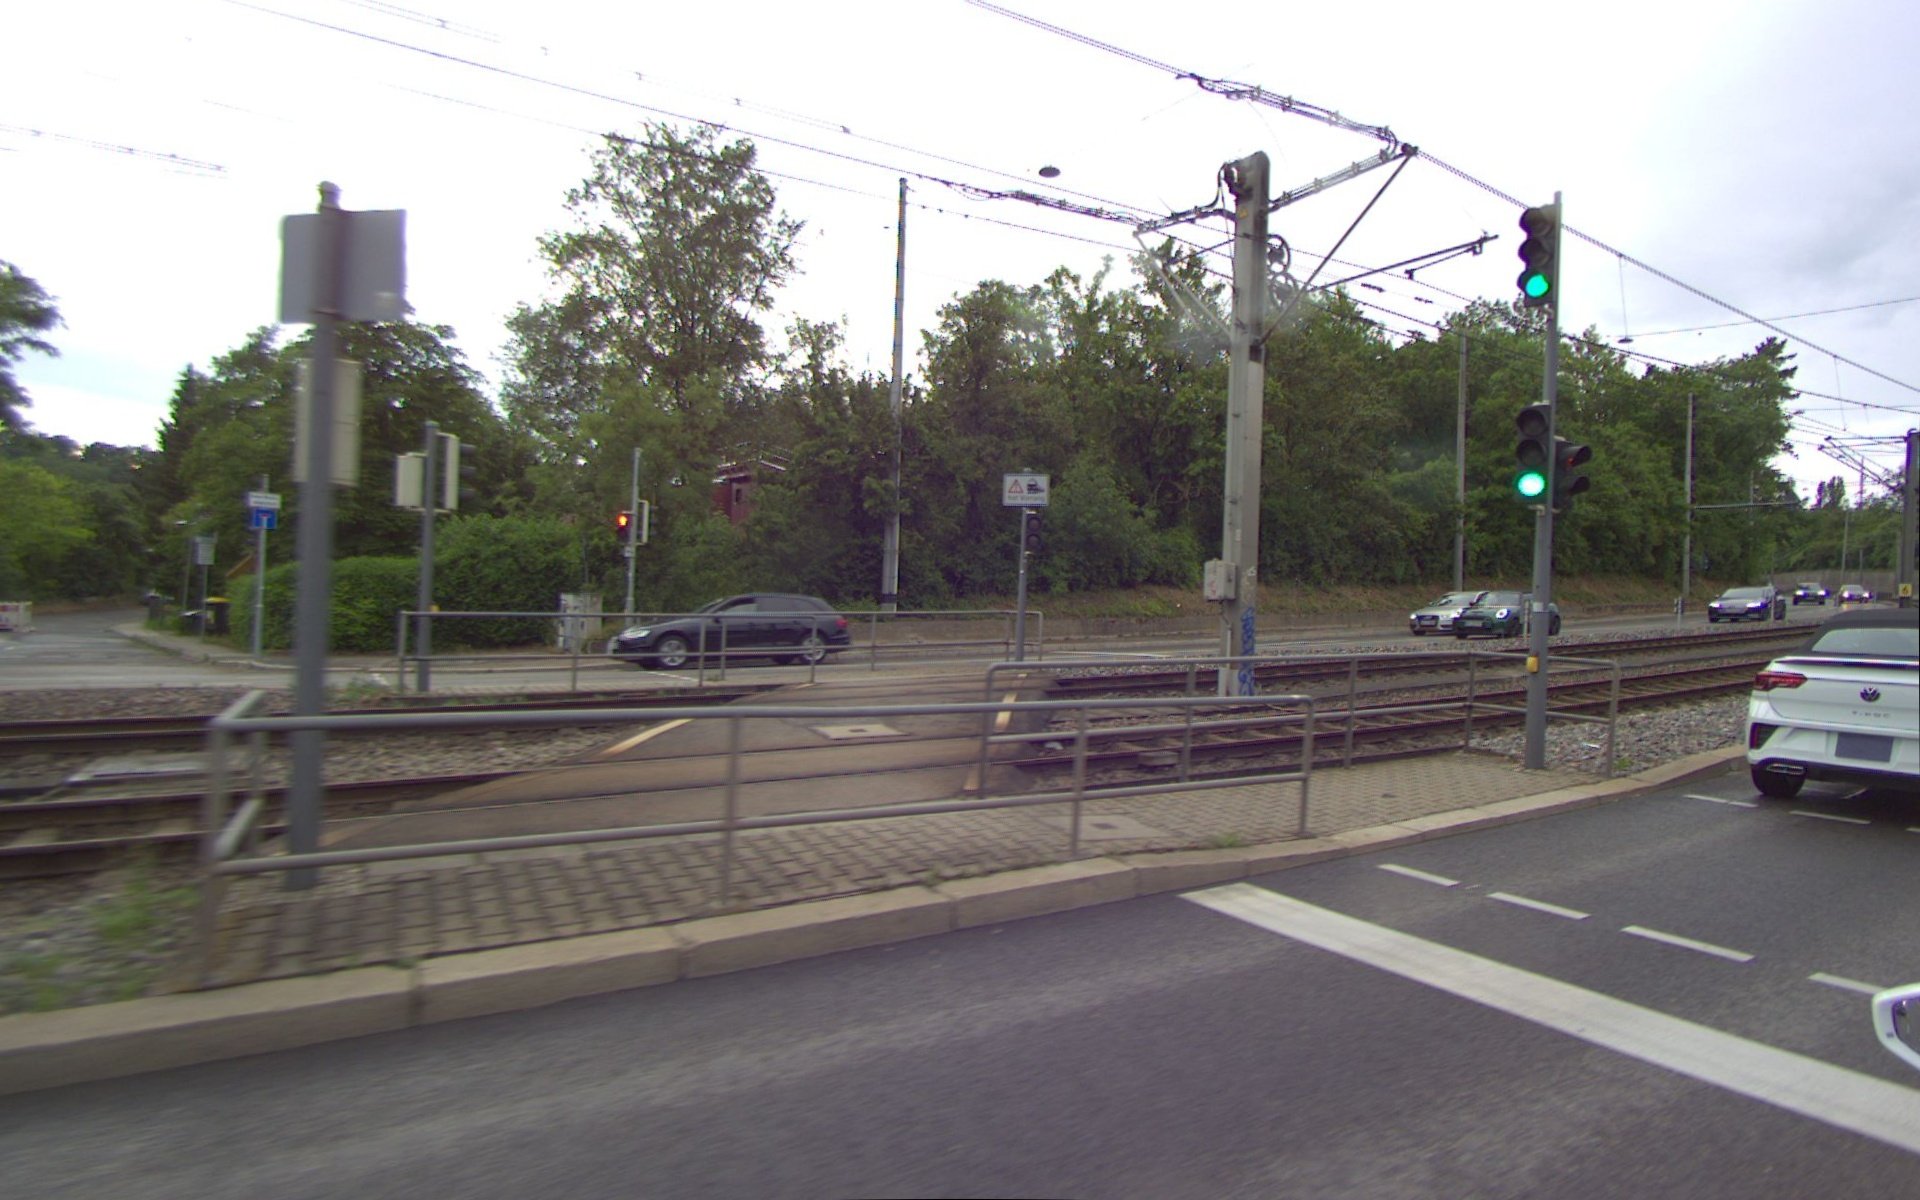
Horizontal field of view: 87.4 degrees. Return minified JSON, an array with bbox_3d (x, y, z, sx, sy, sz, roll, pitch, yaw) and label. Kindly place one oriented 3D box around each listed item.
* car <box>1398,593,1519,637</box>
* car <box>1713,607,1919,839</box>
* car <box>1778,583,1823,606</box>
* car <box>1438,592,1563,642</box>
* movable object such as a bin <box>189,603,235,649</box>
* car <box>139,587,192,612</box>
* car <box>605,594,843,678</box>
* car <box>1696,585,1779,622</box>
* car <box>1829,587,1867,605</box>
[{"bbox_3d":[16.861,0.473,33.892,4.662,1.398,1.805,0,0,-38],"label":"car"},{"bbox_3d":[8.269,0.849,8.307,4.491,1.544,1.860,0,0,-33],"label":"car"},{"bbox_3d":[66.208,-0.445,79.185,1.757,1.692,4.732,0,1,28],"label":"car"},{"bbox_3d":[16.115,0.513,29.904,3.853,1.403,1.623,0,-2,-33],"label":"car"},{"bbox_3d":[-25.751,0.889,34.573,1.264,1.445,0.676,5,0,27],"label":"movable object such as a bin"},{"bbox_3d":[-58.019,-0.007,73.437,1.972,1.775,3.978,2,-1,-23],"label":"car"},{"bbox_3d":[-4.570,0.679,19.699,4.229,1.478,1.706,1,-1,-33],"label":"car"},{"bbox_3d":[33.407,0.129,43.092,4.815,1.458,1.846,-1,-1,-40],"label":"car"},{"bbox_3d":[73.330,-0.366,82.982,1.682,1.434,4.021,1,1,32],"label":"car"}]
